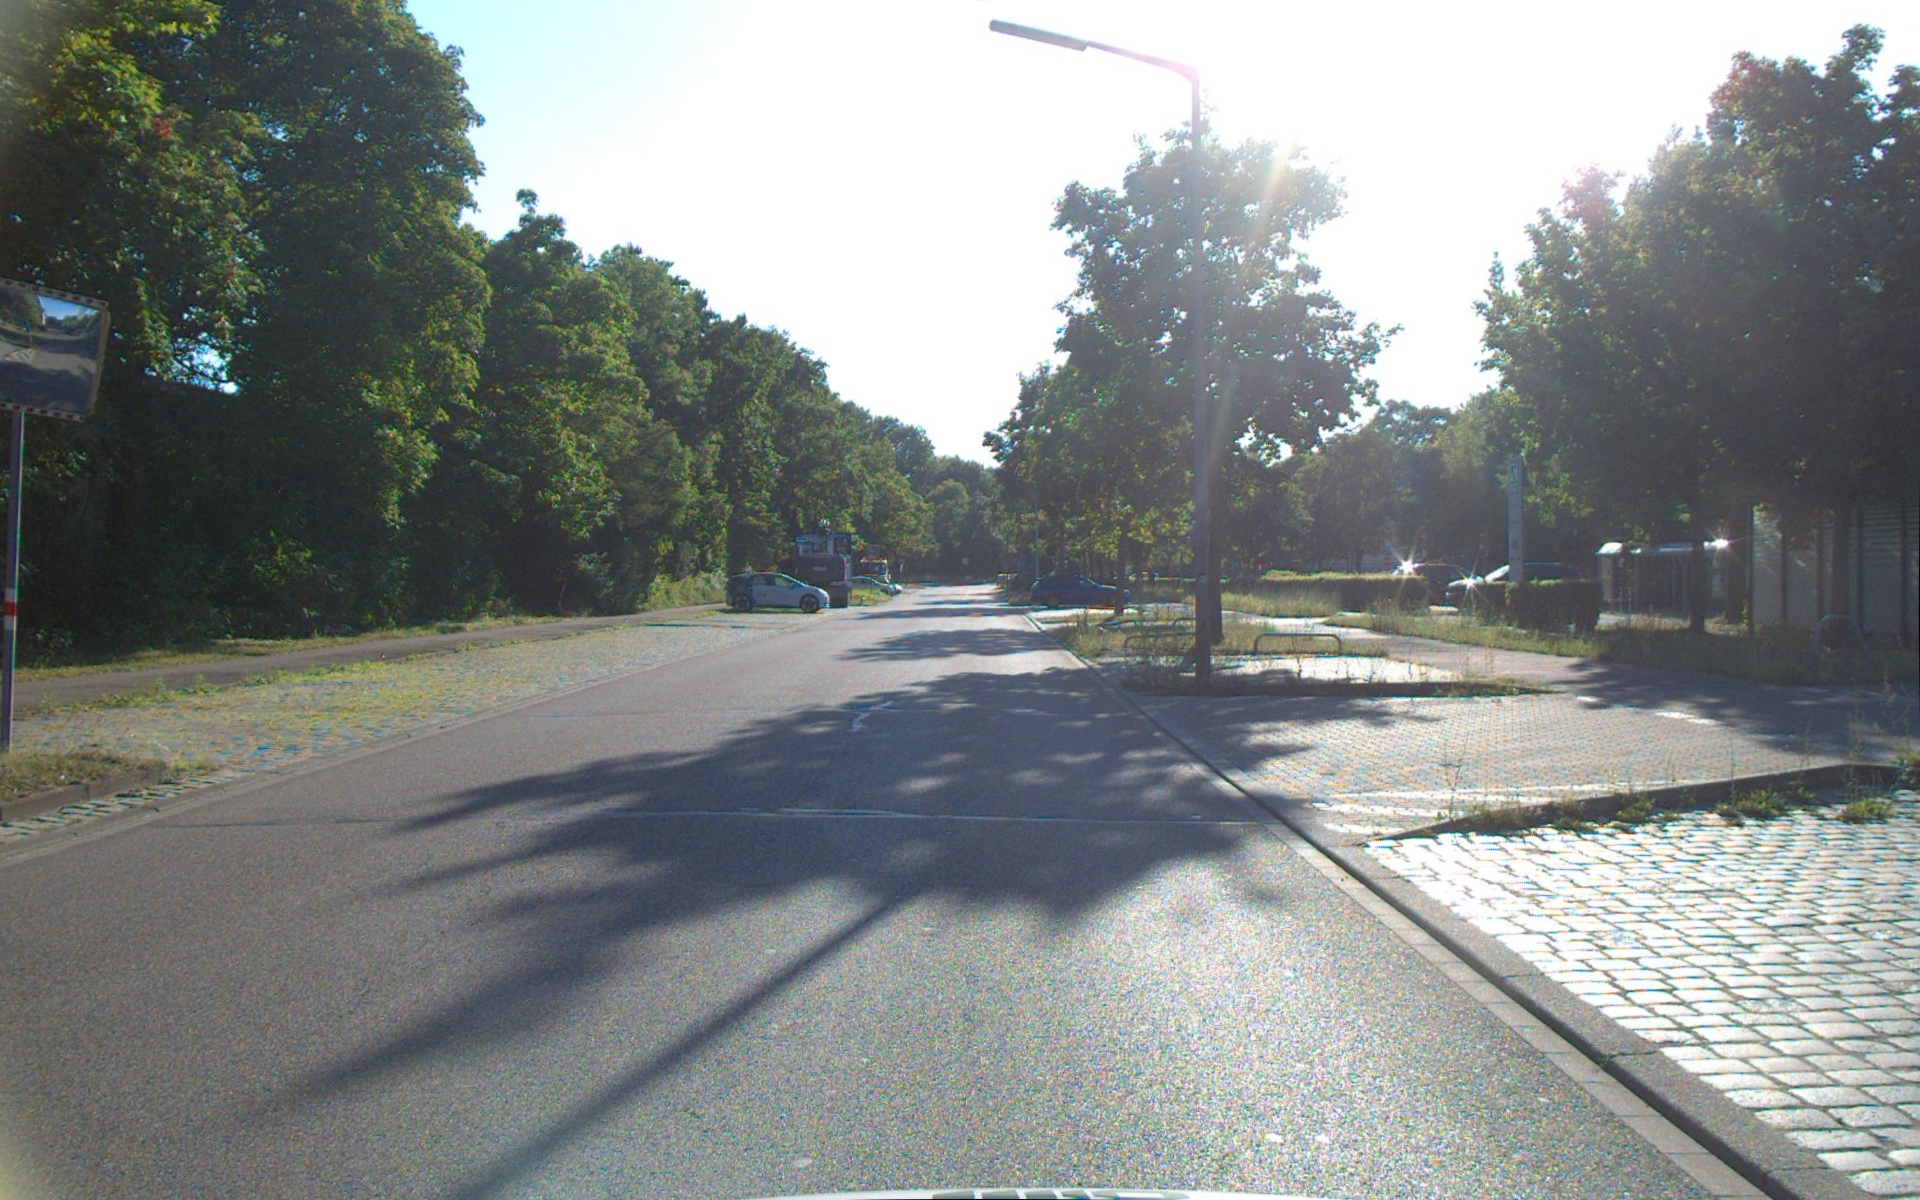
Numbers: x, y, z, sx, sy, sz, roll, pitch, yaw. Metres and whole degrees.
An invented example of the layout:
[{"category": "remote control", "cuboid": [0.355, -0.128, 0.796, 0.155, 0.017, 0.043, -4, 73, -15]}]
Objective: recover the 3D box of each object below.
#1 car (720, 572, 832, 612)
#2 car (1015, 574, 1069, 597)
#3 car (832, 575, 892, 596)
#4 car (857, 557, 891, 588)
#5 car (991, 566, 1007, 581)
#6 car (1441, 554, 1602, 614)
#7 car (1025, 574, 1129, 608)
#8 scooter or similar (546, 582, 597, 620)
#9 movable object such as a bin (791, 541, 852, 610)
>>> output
[{"category": "car", "cuboid": [-7.464, -0.332, 67.340, 4.268, 1.574, 2.000, -1, 1, 1]}, {"category": "car", "cuboid": [6.551, -1.175, 132.314, 4.269, 1.759, 2.000, -1, 1, -1]}, {"category": "car", "cuboid": [-7.141, -1.050, 120.254, 4.275, 1.505, 1.998, -1, 1, -6]}, {"category": "car", "cuboid": [-6.759, -2.152, 129.596, 2.468, 2.427, 4.367, -1, 1, -6]}, {"category": "car", "cuboid": [5.225, -3.518, 221.049, 1.953, 1.937, 3.999, -1, 1, -2]}, {"category": "car", "cuboid": [17.619, -0.498, 52.035, 4.339, 1.735, 2.059, 2, 1, -1]}, {"category": "car", "cuboid": [5.386, -0.441, 76.675, 4.741, 1.505, 2.000, -1, 1, 1]}, {"category": "scooter or similar", "cuboid": [-12.331, 0.019, 52.535, 0.566, 1.165, 1.576, 0, 0, 40]}, {"category": "movable object such as a bin", "cuboid": [-6.667, -1.190, 80.028, 2.782, 3.122, 4.923, 2, 1, -4]}]
